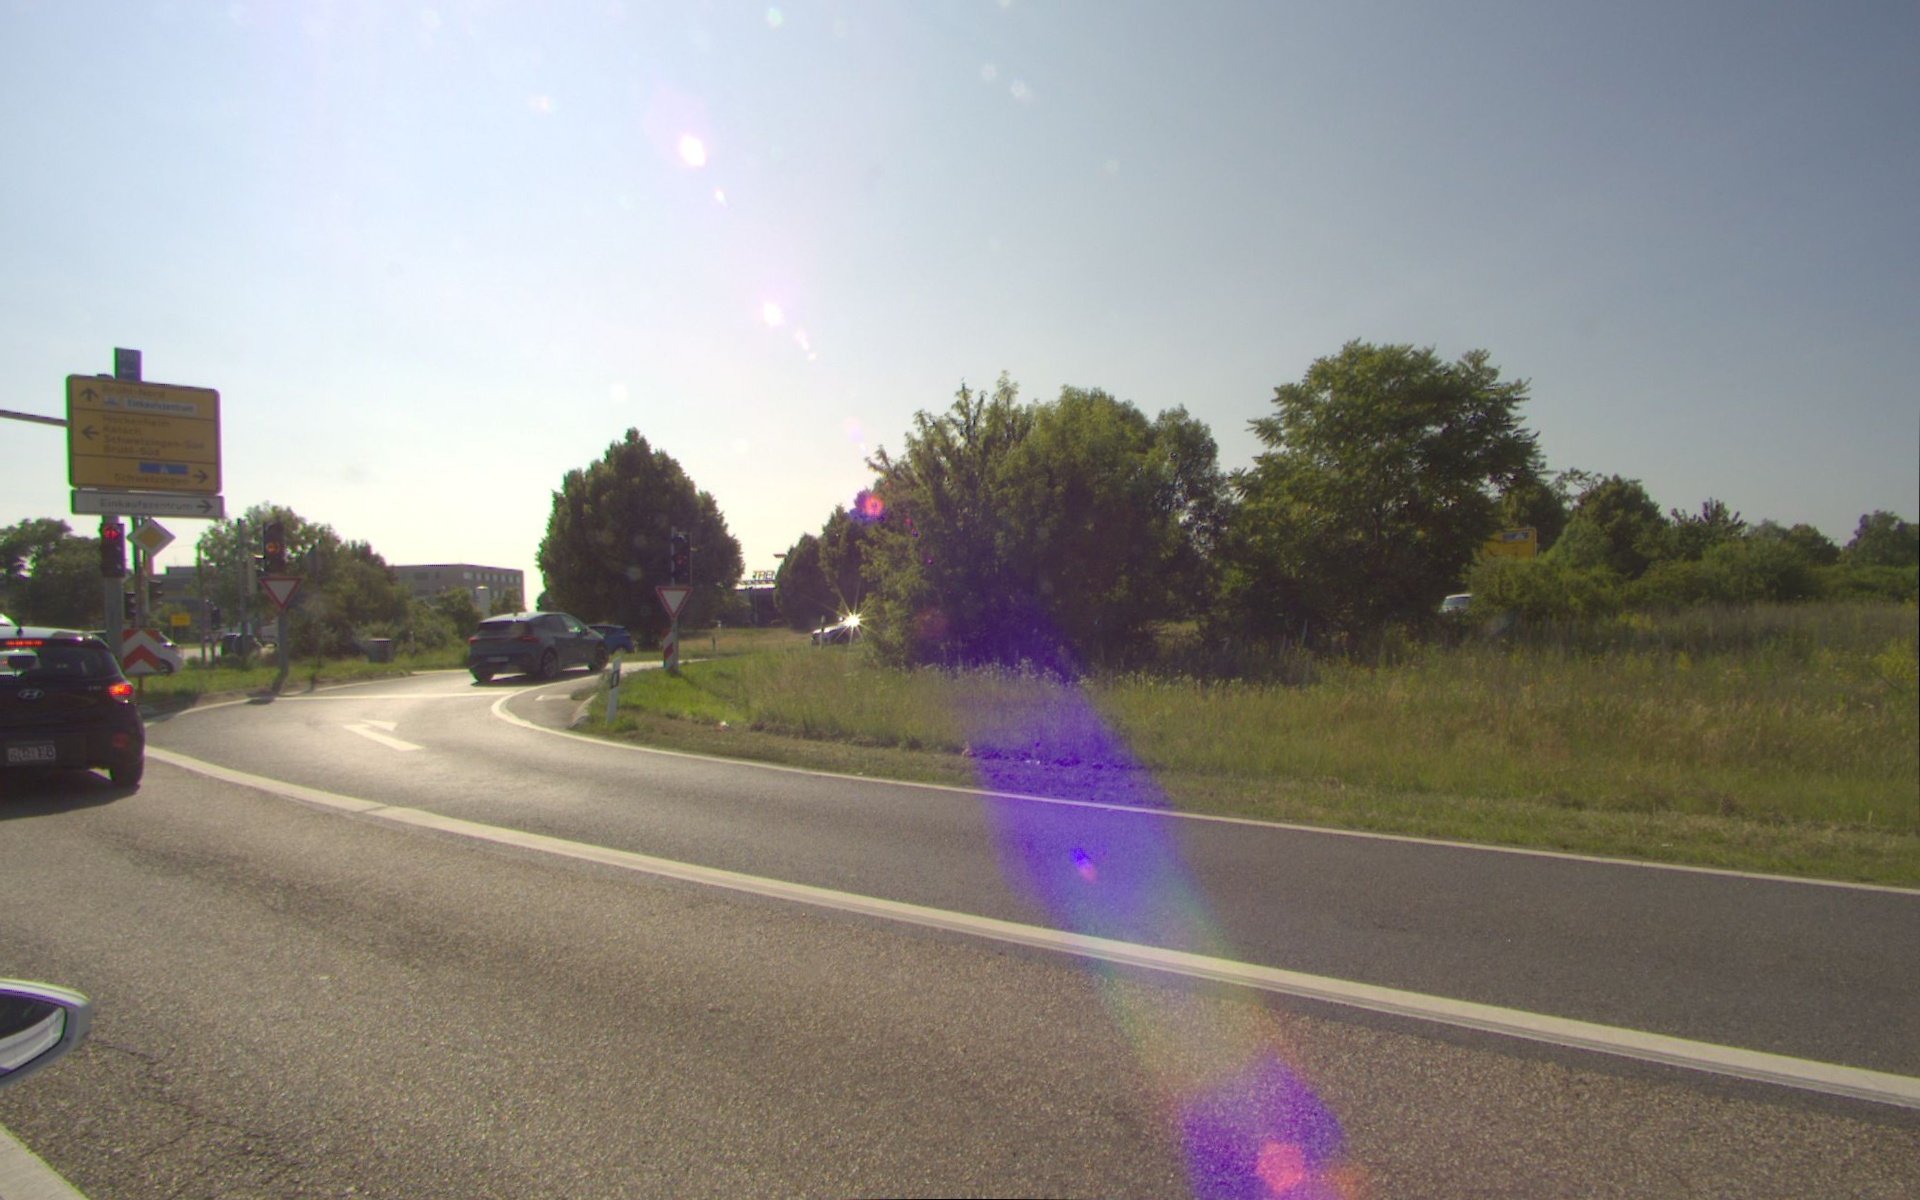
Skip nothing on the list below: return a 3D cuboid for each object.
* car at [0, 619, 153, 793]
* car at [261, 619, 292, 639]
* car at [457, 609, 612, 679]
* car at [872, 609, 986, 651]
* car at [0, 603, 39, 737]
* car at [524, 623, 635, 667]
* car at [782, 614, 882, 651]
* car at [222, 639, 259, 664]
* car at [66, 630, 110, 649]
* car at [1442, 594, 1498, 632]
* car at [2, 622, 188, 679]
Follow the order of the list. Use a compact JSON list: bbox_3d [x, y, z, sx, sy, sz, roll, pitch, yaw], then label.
[{"bbox_3d":[-9.182,0.923,9.607,3.255,1.467,1.626,-1,-2,40],"label":"car"},{"bbox_3d":[-63.630,2.741,93.273,1.694,1.842,3.766,1,-2,-23],"label":"car"},{"bbox_3d":[-10.143,1.009,24.218,1.744,1.537,4.099,-1,-1,4],"label":"car"},{"bbox_3d":[-1.083,1.040,36.038,3.954,1.404,1.633,0,0,-39],"label":"car"},{"bbox_3d":[-13.907,0.923,13.557,3.705,1.698,1.626,-2,-2,40],"label":"car"},{"bbox_3d":[-14.693,1.698,38.720,3.822,1.539,1.800,-1,-1,-28],"label":"car"},{"bbox_3d":[-5.602,1.400,43.901,3.981,1.539,1.797,0,-1,-32],"label":"car"},{"bbox_3d":[-51.754,3.687,72.105,1.857,1.694,3.750,1,-2,-32],"label":"car"},{"bbox_3d":[-73.602,3.350,84.532,1.689,1.568,3.601,1,-2,-22],"label":"car"},{"bbox_3d":[34.166,0.879,67.098,3.851,2.467,1.455,1,-2,-30],"label":"car"},{"bbox_3d":[-24.182,1.381,28.201,3.867,1.484,1.710,0,-1,-39],"label":"car"}]
